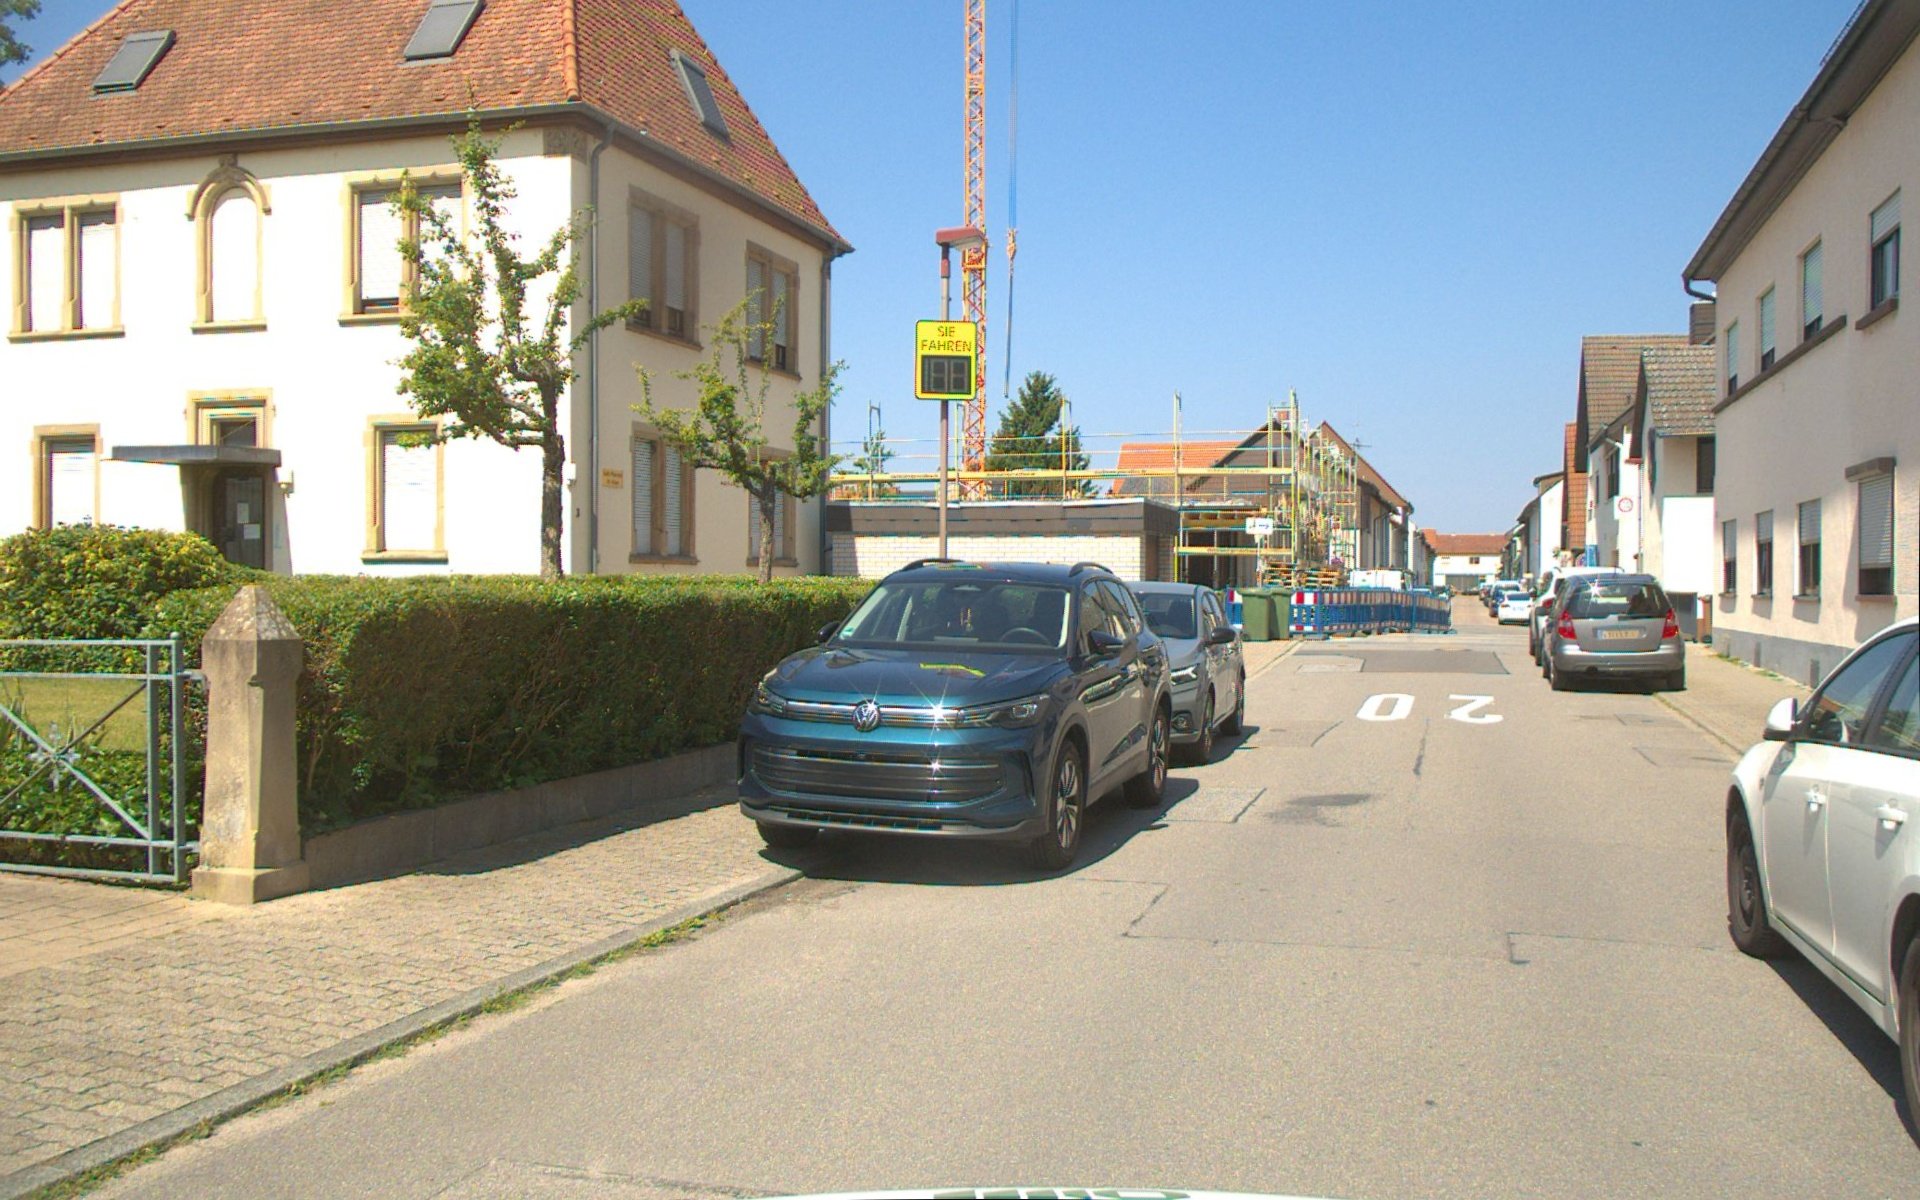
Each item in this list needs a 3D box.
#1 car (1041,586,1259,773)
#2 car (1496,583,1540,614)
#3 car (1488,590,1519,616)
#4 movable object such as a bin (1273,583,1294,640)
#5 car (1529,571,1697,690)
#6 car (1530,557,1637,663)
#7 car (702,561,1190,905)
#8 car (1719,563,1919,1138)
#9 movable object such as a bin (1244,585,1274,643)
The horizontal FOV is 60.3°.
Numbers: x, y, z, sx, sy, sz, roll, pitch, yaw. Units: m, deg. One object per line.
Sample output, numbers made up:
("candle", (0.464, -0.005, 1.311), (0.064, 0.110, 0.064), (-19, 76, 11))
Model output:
("car", (1.873, 0.635, 15.387), (1.406, 1.500, 3.789), (-1, 0, 16))
("car", (26.620, -0.099, 79.032), (1.926, 1.411, 4.002), (0, 1, 18))
("car", (30.796, 0.172, 93.747), (1.522, 1.411, 3.453), (0, 1, 16))
("movable object such as a bin", (6.755, 0.229, 34.539), (0.422, 1.176, 0.365), (0, 1, 8))
("car", (9.453, 0.382, 24.225), (1.844, 1.583, 3.897), (0, 1, 15))
("car", (10.943, 0.121, 29.193), (1.531, 1.641, 3.546), (0, 3, 17))
("car", (0.170, 0.612, 10.261), (1.788, 1.659, 4.219), (0, 1, 18))
("car", (3.792, 0.680, 5.264), (1.846, 1.569, 4.246), (0, 1, 16))
("movable object such as a bin", (6.186, 0.277, 34.216), (0.608, 1.176, 0.678), (0, 1, 10))
